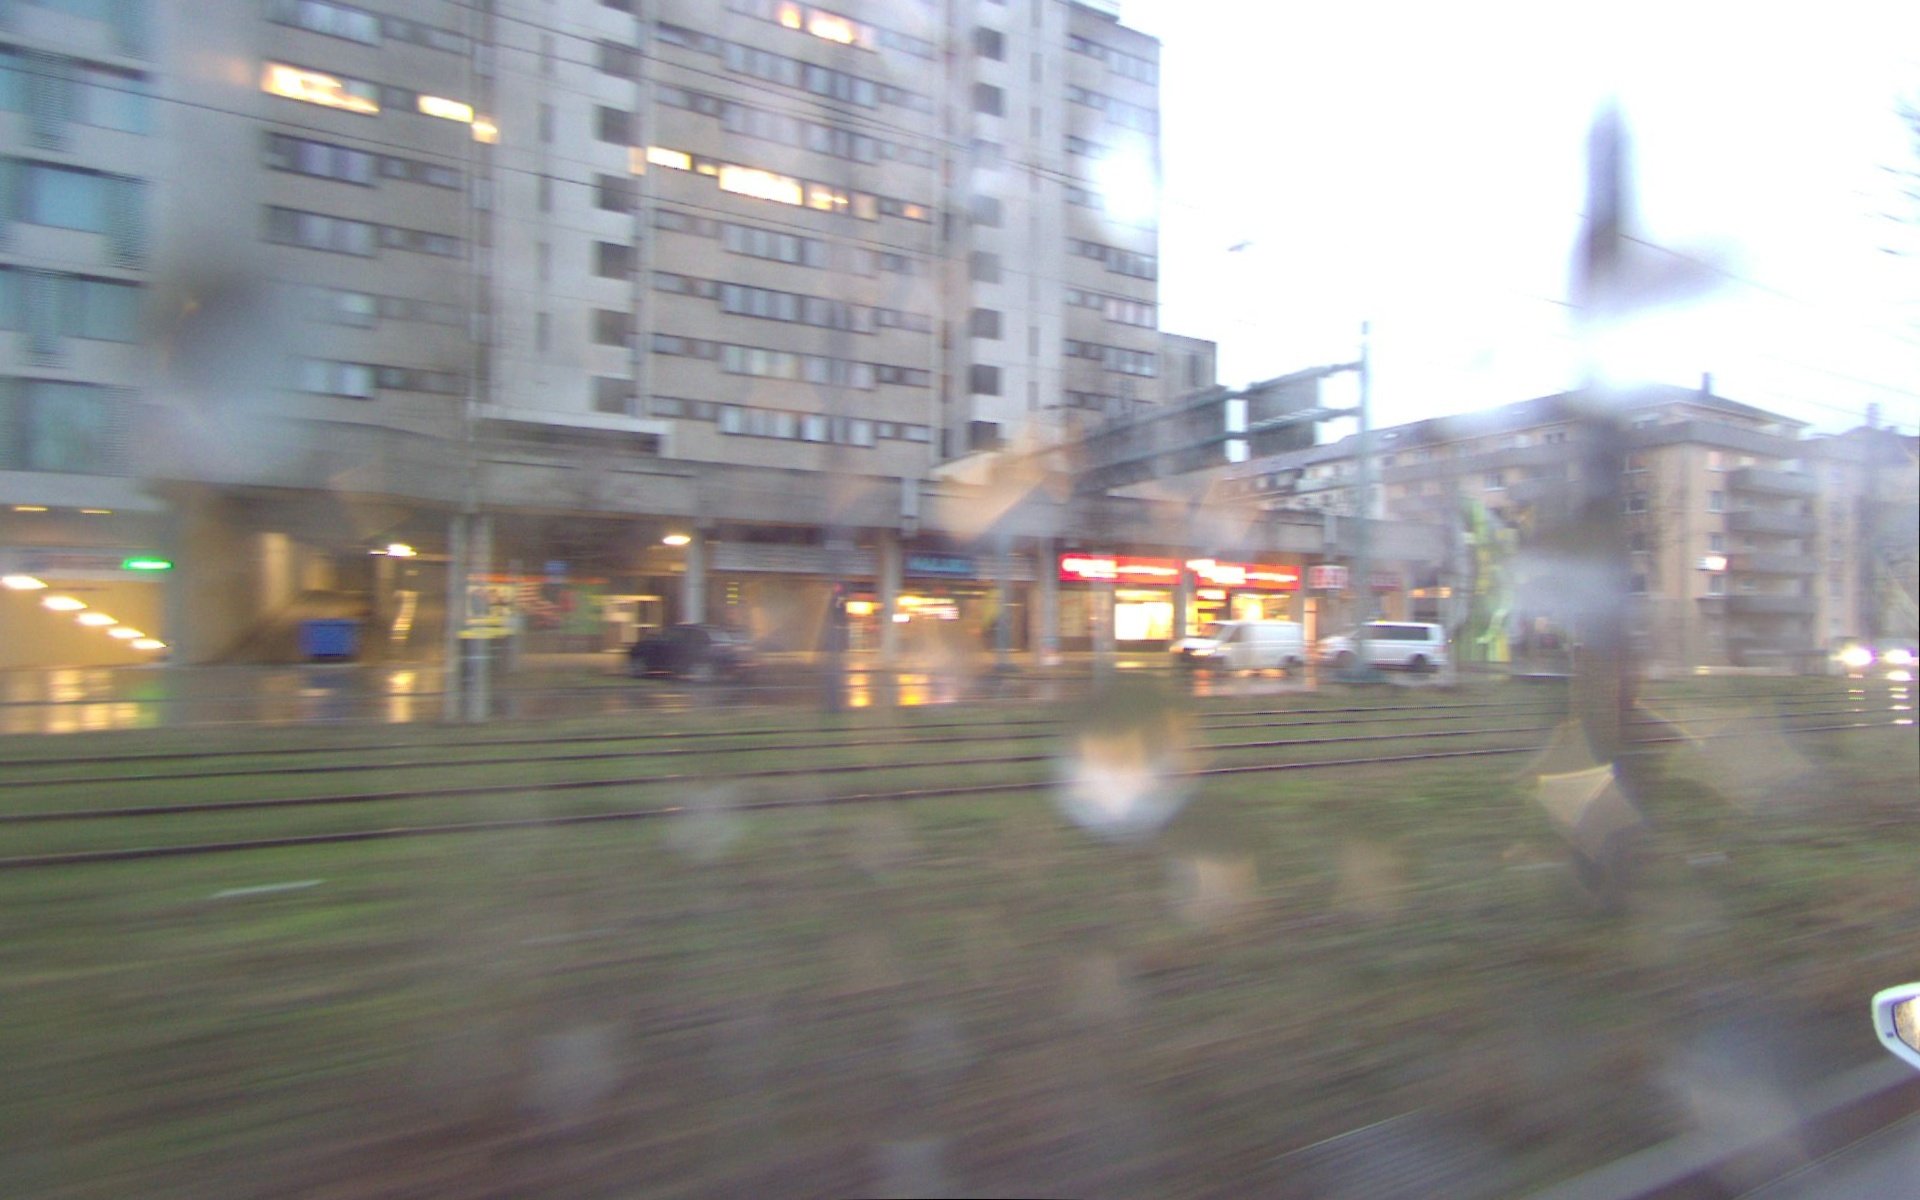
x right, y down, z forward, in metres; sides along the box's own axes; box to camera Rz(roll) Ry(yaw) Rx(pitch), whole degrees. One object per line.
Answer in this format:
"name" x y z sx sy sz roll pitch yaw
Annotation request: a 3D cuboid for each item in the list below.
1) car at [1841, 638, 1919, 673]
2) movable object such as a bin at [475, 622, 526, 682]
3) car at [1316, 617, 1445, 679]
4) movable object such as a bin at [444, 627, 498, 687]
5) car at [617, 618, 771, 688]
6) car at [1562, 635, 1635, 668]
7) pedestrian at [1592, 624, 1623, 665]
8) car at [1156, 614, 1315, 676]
"car" 39.802 2.373 42.879 4.260 1.350 1.852 2 0 -27
"movable object such as a bin" -12.436 1.396 27.189 1.003 1.521 1.041 2 1 -38
"car" 17.445 1.949 41.929 4.736 2.274 2.000 2 0 18
"movable object such as a bin" -12.528 1.438 25.739 1.022 1.445 1.062 2 1 -38
"car" -7.636 1.448 28.783 4.069 1.715 1.980 2 0 31
"car" 42.981 3.463 67.645 1.823 1.968 3.724 2 0 -34
"pedestrian" 33.275 2.286 51.615 1.254 2.040 1.003 0 -1 40
"car" 10.053 1.658 36.650 5.485 2.073 1.989 2 0 -23
